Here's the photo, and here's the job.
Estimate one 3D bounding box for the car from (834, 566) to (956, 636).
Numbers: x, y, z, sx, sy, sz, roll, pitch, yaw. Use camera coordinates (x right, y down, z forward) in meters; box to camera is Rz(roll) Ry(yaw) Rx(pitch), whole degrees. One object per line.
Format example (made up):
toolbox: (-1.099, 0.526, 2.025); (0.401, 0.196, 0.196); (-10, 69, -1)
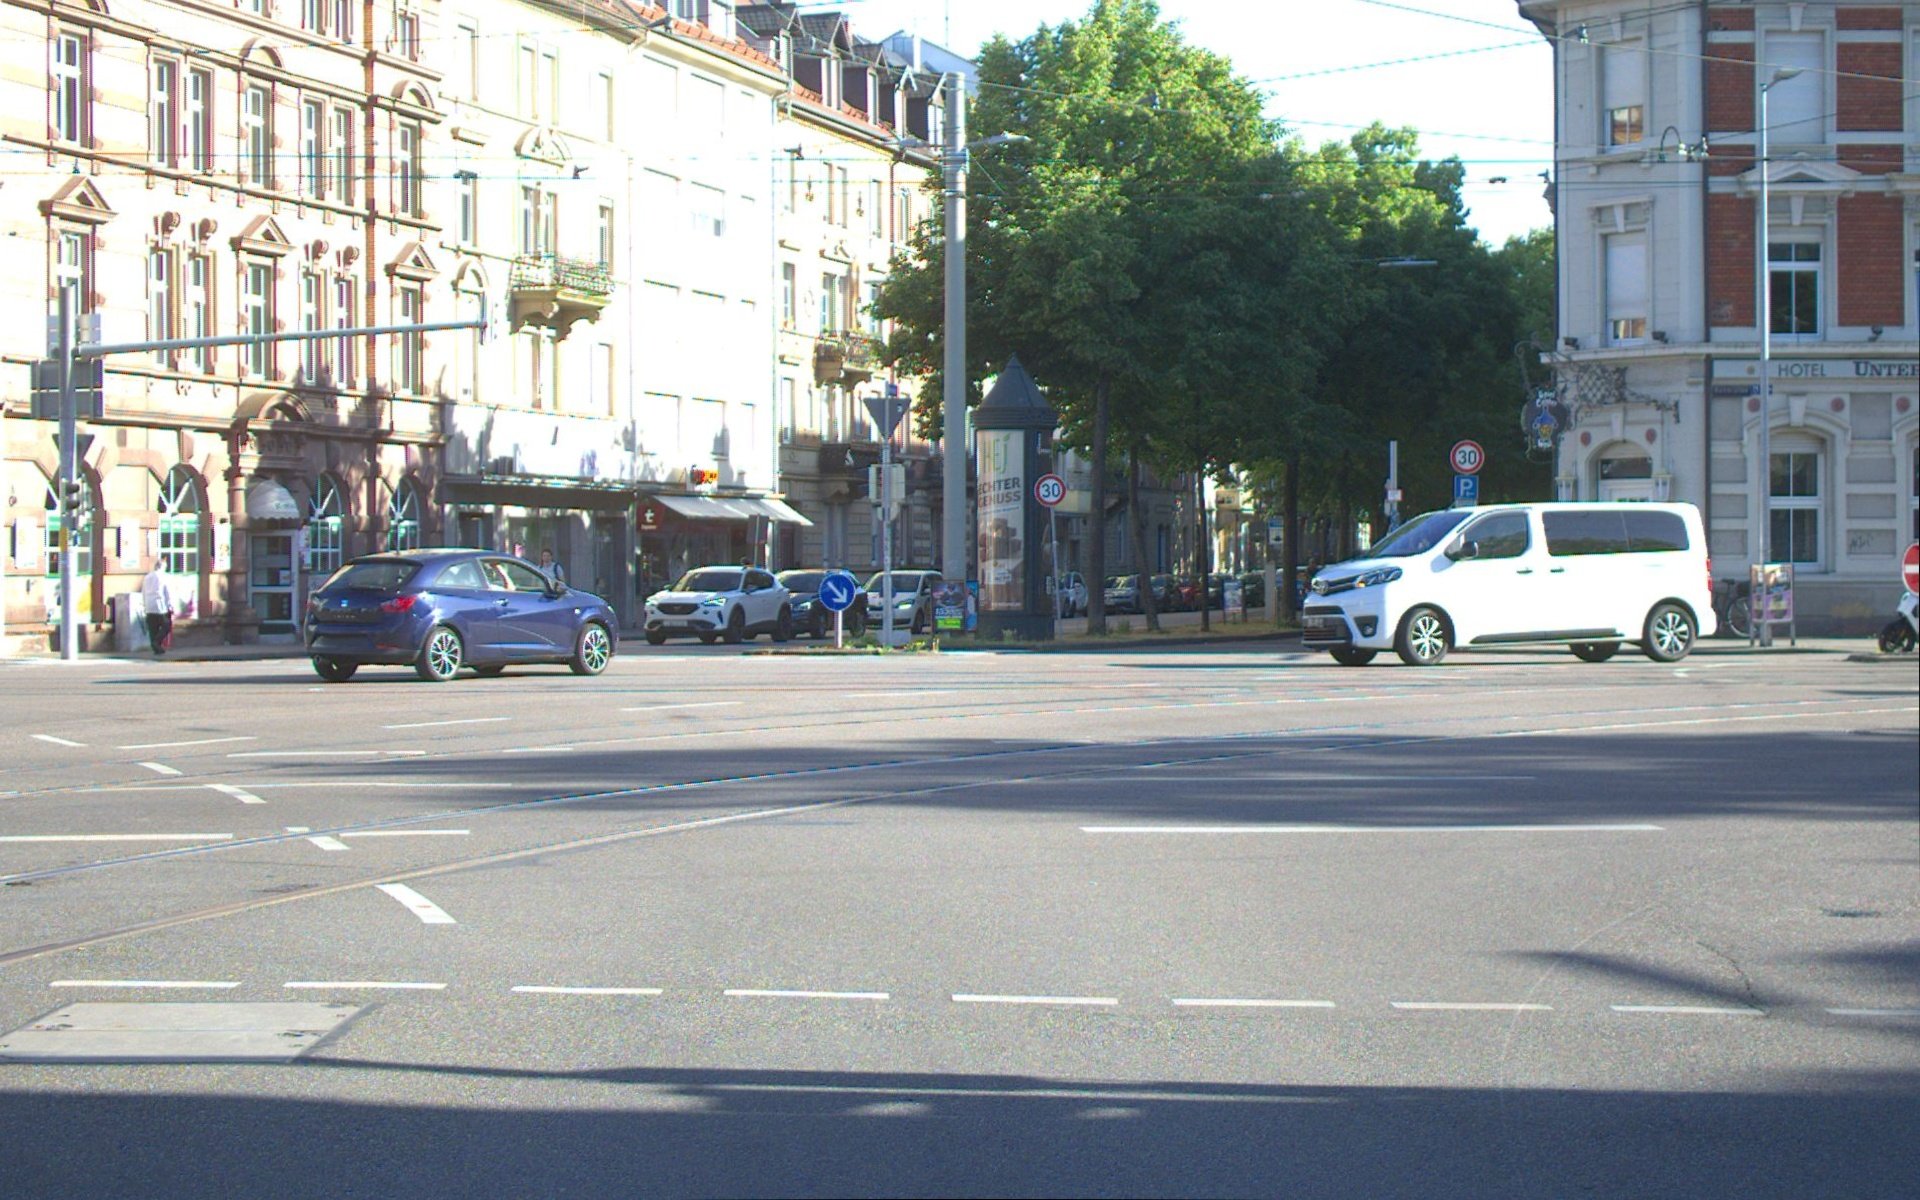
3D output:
car: (-1.486, 0.011, 80.109); (1.804, 1.570, 3.888); (1, 1, 15)

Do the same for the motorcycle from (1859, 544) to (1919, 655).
motorcycle: (12.148, -0.002, 41.923); (2.135, 1.329, 0.797); (1, 0, 0)

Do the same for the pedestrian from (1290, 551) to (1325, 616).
pedestrian: (10.881, -0.525, 107.591); (0.944, 2.007, 0.826); (1, 0, 14)

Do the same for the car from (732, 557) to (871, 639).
car: (-3.360, -0.053, 73.609); (1.826, 1.679, 3.872); (1, 1, 16)

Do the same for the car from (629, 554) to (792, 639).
car: (-4.836, -0.084, 67.273); (1.804, 1.579, 4.156); (1, 1, 17)

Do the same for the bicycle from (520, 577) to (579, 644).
bicycle: (-7.795, 0.197, 65.280); (0.565, 1.250, 1.556); (1, 0, 14)

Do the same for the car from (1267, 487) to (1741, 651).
car: (6.420, -0.376, 40.580); (5.197, 1.847, 2.001); (0, 1, -21)

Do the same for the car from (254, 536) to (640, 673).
car: (-5.506, 0.012, 37.285); (1.829, 1.398, 3.991); (1, 1, 37)

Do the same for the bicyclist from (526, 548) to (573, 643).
bicyclist: (-7.798, -0.087, 65.285); (0.565, 1.797, 0.913); (1, 0, 15)

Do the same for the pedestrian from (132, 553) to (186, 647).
pedestrian: (-14.215, -0.005, 61.014); (0.568, 1.636, 0.792); (1, 0, 23)
